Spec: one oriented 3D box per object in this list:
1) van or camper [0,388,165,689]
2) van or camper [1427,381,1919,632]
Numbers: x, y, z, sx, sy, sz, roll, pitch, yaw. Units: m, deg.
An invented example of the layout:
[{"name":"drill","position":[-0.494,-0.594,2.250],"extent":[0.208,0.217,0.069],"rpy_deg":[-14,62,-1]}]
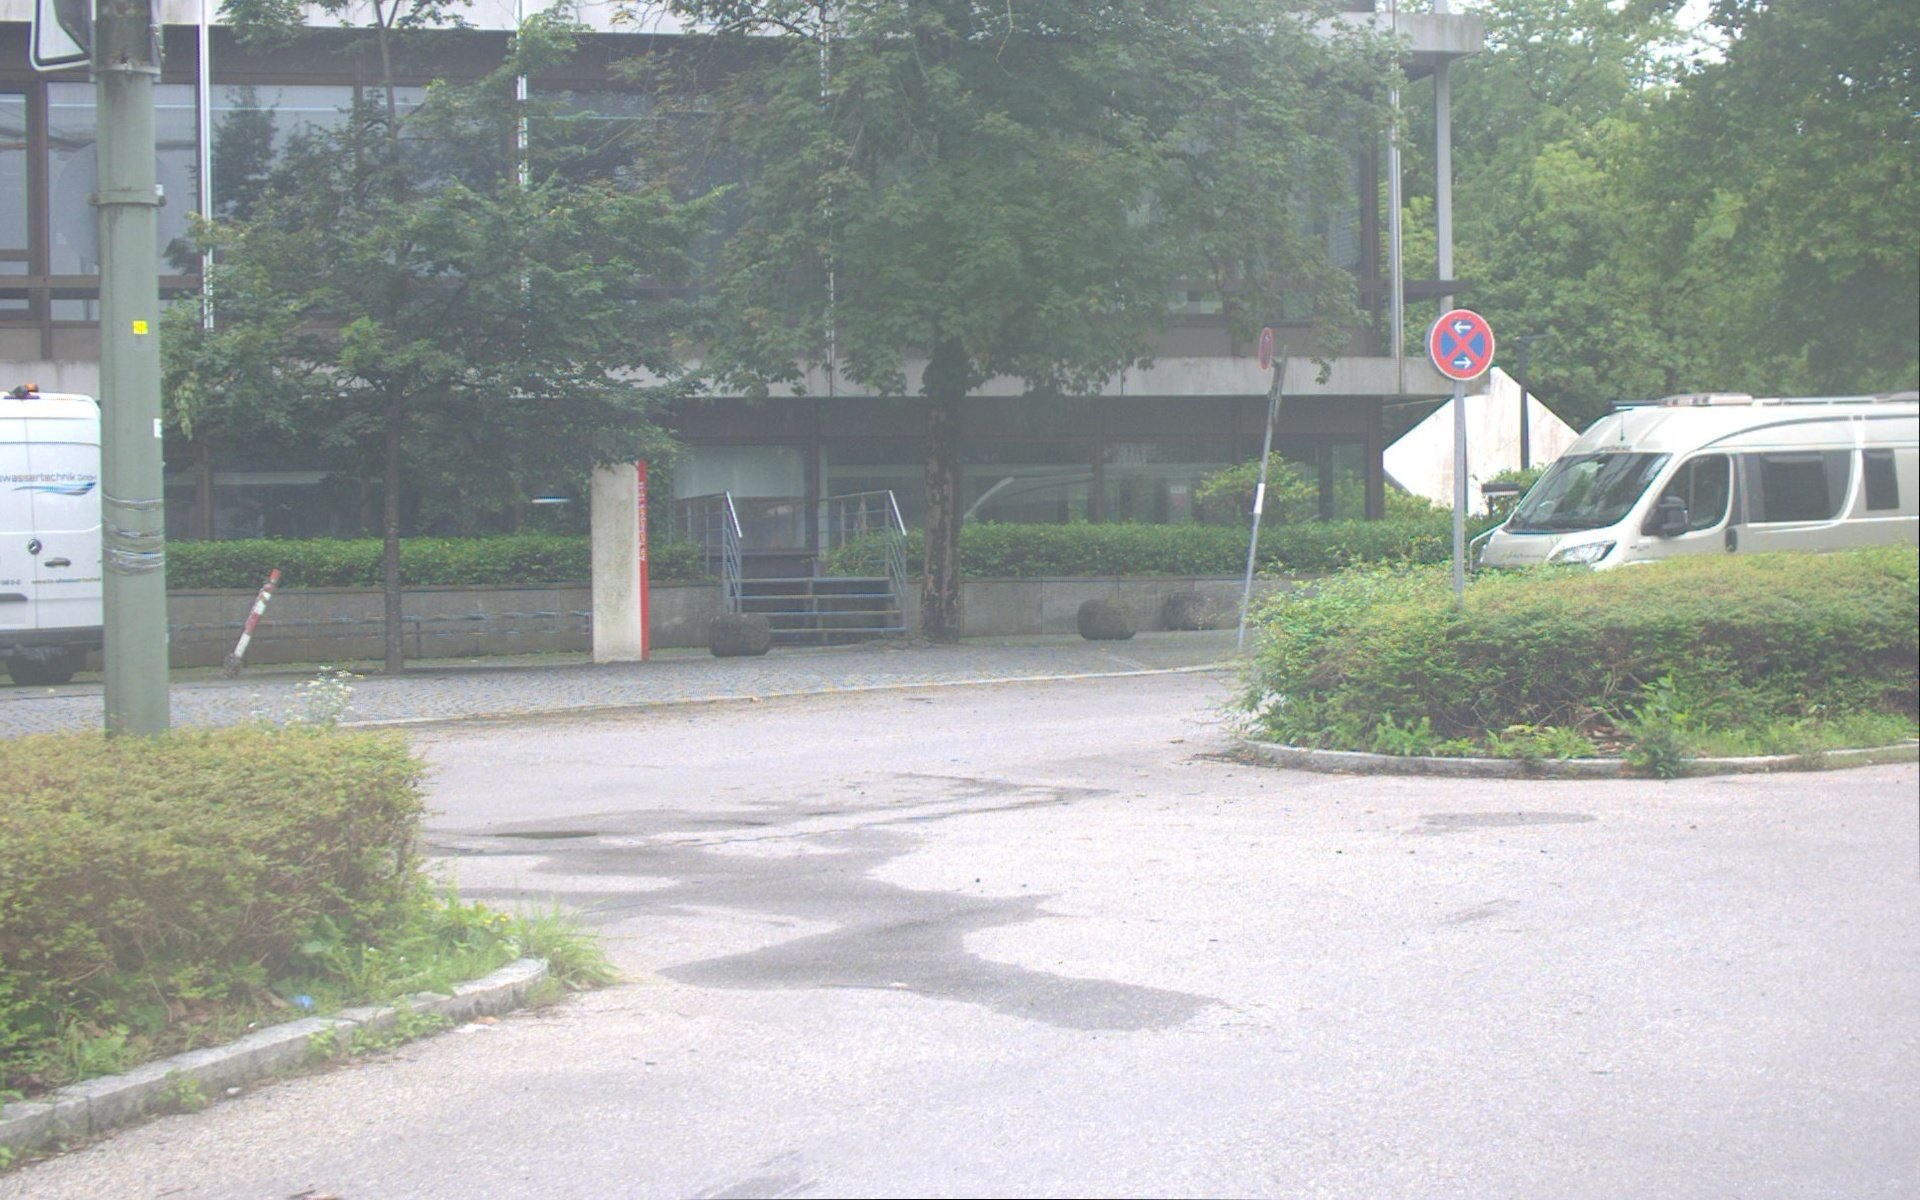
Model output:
[{"name":"van or camper","position":[-9.972,-0.474,32.147],"extent":[2.157,2.572,6.536],"rpy_deg":[-1,-1,-40]},{"name":"van or camper","position":[7.862,-0.917,33.711],"extent":[6.397,2.273,2.255],"rpy_deg":[-1,1,-29]}]
